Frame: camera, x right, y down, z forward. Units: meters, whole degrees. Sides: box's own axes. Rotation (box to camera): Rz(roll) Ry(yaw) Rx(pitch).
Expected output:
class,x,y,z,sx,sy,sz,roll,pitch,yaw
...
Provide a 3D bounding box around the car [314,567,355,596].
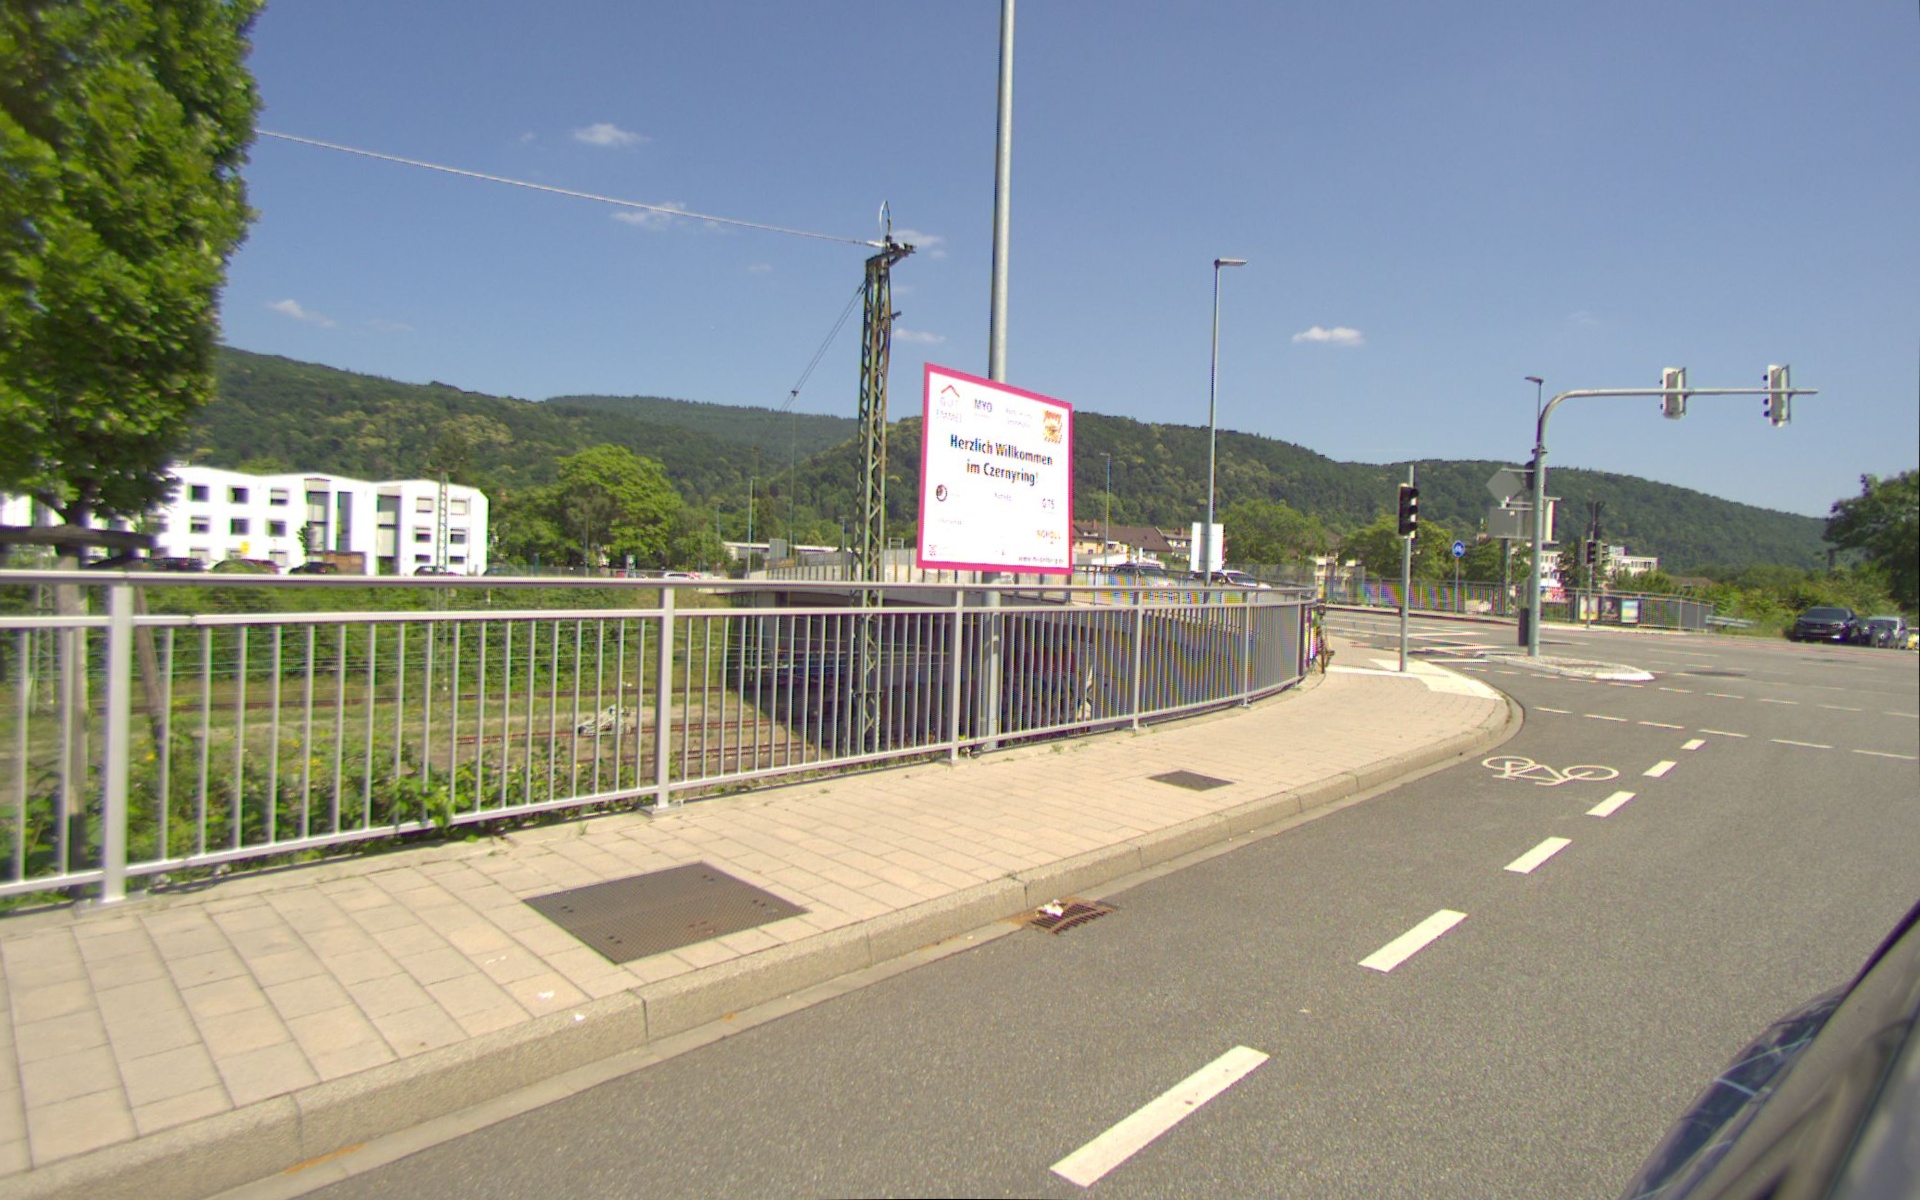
class,x,y,z,sx,sy,sz,roll,pitch,yaw
car,-46.957,-1.405,76.047,1.958,2.038,4.480,1,1,-24

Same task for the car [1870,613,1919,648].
class,x,y,z,sx,sy,sz,roll,pitch,yaw
car,48.496,1.553,52.306,3.929,1.655,1.671,1,2,-41

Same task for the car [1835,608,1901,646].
class,x,y,z,sx,sy,sz,roll,pitch,yaw
car,40.819,1.179,45.490,3.929,1.552,1.671,1,2,-41

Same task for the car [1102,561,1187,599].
class,x,y,z,sx,sy,sz,roll,pitch,yaw
car,8.445,-0.966,46.650,1.700,1.646,4.452,1,1,-22

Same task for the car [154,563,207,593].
class,x,y,z,sx,sy,sz,roll,pitch,yaw
car,-55.882,-1.595,72.635,1.958,2.038,4.480,1,1,-24

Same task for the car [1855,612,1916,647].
class,x,y,z,sx,sy,sz,roll,pitch,yaw
car,44.621,1.394,48.790,3.929,1.552,1.671,1,2,-41

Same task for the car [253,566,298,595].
class,x,y,z,sx,sy,sz,roll,pitch,yaw
car,-50.462,-1.479,74.672,1.958,2.038,4.480,1,1,-24

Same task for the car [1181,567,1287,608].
class,x,y,z,sx,sy,sz,roll,pitch,yaw
car,10.788,-0.547,40.160,1.700,1.487,4.420,1,1,-22

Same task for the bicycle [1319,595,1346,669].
class,x,y,z,sx,sy,sz,roll,pitch,yaw
bicycle,6.013,0.482,16.363,0.294,1.114,1.611,2,1,18

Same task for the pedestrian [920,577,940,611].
class,x,y,z,sx,sy,sz,roll,pitch,yaw
pedestrian,-1.481,-0.293,49.382,0.632,1.638,0.923,1,1,-23

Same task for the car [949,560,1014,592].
class,x,y,z,sx,sy,sz,roll,pitch,yaw
car,1.187,-1.399,58.803,1.958,1.740,4.643,1,1,-24

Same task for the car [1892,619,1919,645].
class,x,y,z,sx,sy,sz,roll,pitch,yaw
car,53.107,1.784,56.085,3.929,1.333,1.671,1,2,-41

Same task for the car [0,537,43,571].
class,x,y,z,sx,sy,sz,roll,pitch,yaw
car,-61.715,-2.977,64.381,4.905,2.139,1.997,1,2,-42

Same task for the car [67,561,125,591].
class,x,y,z,sx,sy,sz,roll,pitch,yaw
car,-61.144,-1.734,71.690,1.958,2.038,4.480,1,1,-24

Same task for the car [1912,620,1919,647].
class,x,y,z,sx,sy,sz,roll,pitch,yaw
car,58.107,2.008,60.192,3.929,1.552,1.671,1,2,-41

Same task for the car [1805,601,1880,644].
class,x,y,z,sx,sy,sz,roll,pitch,yaw
car,37.172,0.904,42.597,4.163,1.647,1.828,1,2,-42
